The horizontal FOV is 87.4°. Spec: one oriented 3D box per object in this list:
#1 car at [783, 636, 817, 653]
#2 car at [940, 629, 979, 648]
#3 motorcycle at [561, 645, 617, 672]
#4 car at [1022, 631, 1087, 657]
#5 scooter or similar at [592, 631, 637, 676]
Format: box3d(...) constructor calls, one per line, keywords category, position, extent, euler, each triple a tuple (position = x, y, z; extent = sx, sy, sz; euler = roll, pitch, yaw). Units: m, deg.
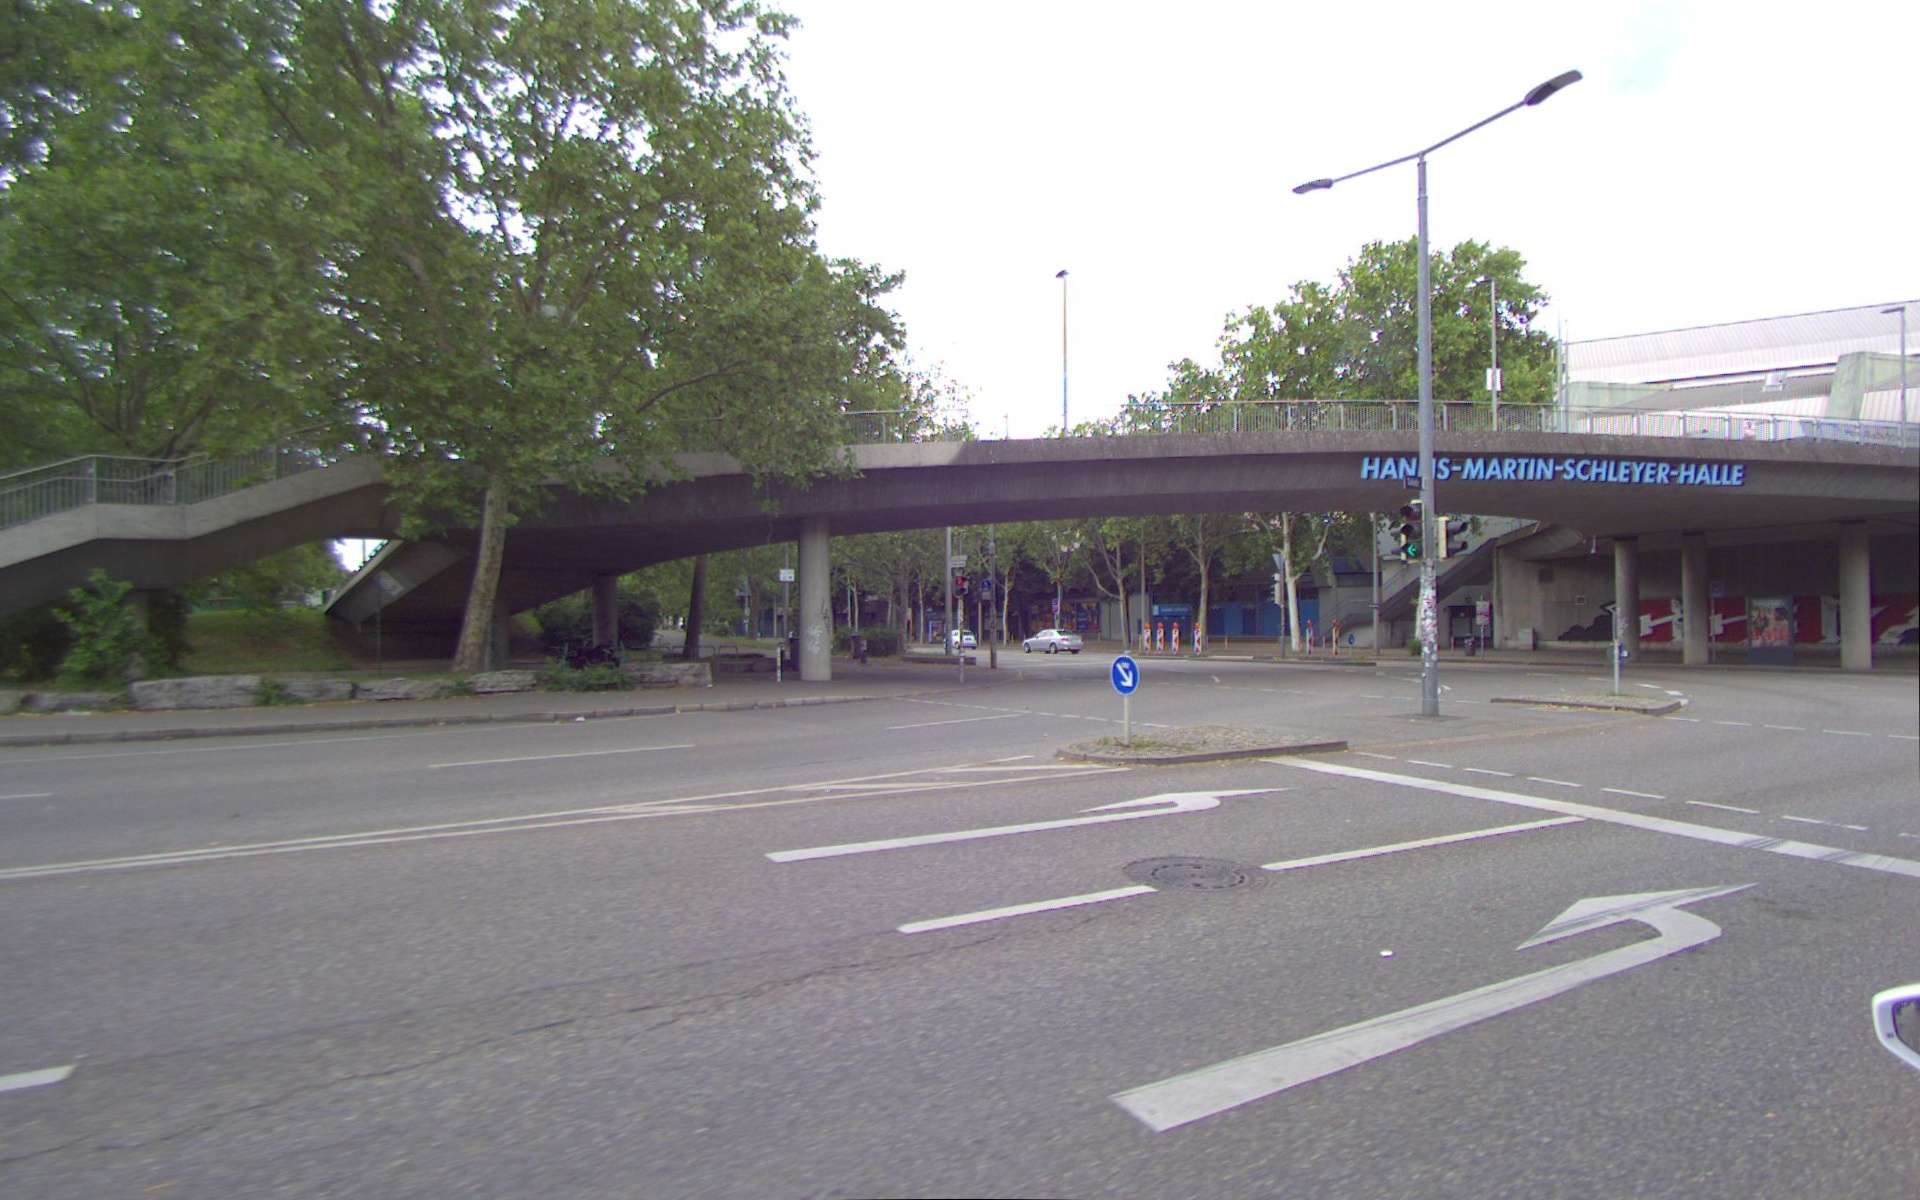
box3d(category="car", position=(-16.593, 4.619, 104.030), extent=(1.981, 1.682, 3.960), euler=(1, -1, -36))
box3d(category="car", position=(-0.036, 2.945, 77.486), extent=(1.596, 1.330, 3.370), euler=(1, -1, -29))
box3d(category="motorcycle", position=(-12.444, 1.963, 33.684), extent=(1.714, 0.862, 0.646), euler=(1, -2, -25))
box3d(category="car", position=(5.736, 2.649, 61.295), extent=(1.978, 1.437, 3.965), euler=(1, -1, -32))
box3d(category="scooter or similar", position=(-10.725, 1.670, 31.222), extent=(1.214, 1.335, 0.414), euler=(3, -4, -31))
